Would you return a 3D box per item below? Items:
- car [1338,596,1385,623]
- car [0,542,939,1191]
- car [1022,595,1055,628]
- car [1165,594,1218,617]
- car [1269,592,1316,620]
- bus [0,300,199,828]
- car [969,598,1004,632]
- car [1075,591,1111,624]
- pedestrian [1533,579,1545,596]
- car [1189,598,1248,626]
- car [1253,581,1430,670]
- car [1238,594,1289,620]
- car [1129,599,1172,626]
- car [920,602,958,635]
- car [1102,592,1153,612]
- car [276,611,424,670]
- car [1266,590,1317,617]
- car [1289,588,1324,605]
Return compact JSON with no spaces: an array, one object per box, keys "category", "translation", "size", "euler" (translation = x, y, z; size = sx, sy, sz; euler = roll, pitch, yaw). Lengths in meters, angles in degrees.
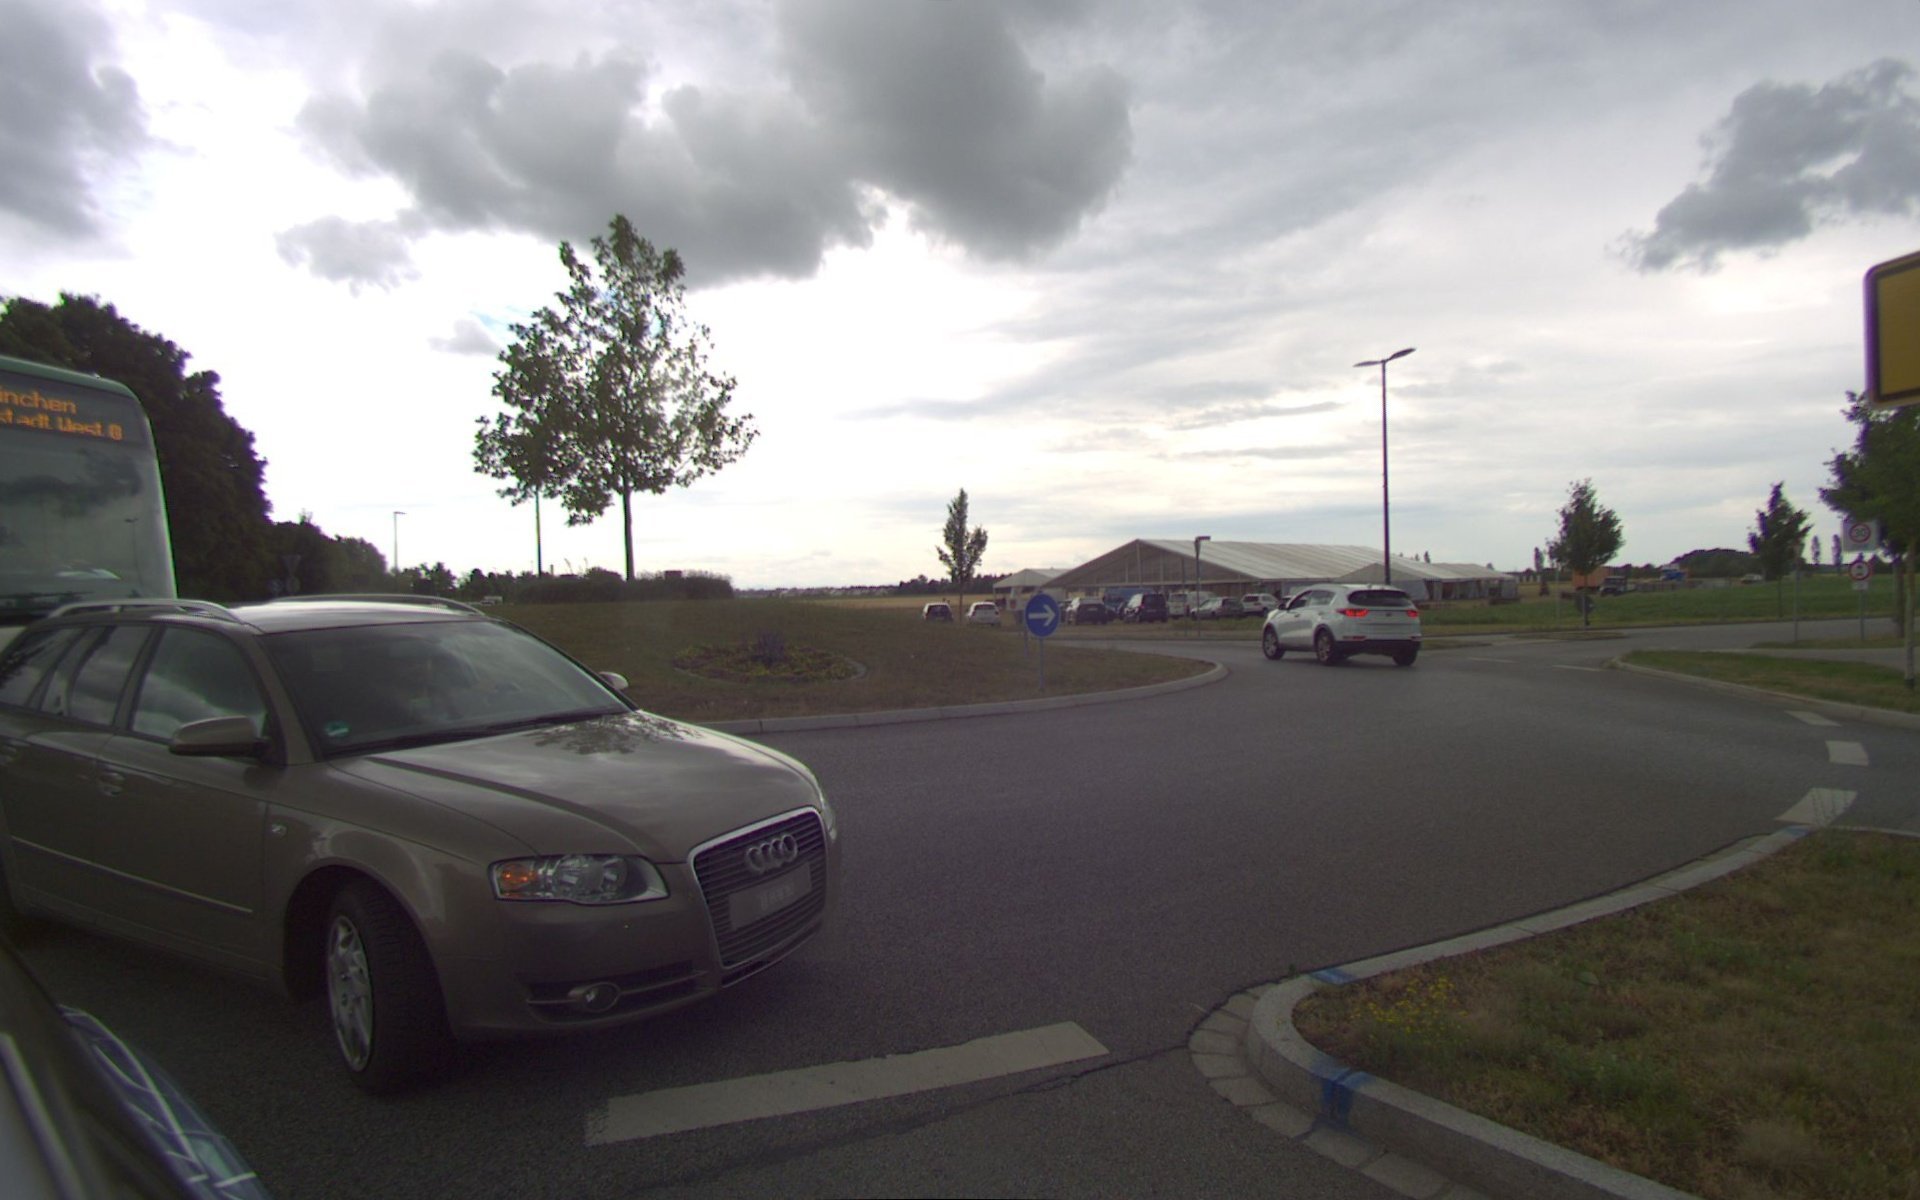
[{"category":"car","translation":[25.558,0.604,64.331],"size":[1.729,1.565,3.949],"euler":[-1,0,38]},{"category":"car","translation":[-2.494,0.678,4.138],"size":[4.517,1.476,1.767],"euler":[-2,-1,27]},{"category":"car","translation":[4.457,0.618,57.404],"size":[1.694,1.564,3.995],"euler":[-4,2,4]},{"category":"car","translation":[16.212,0.395,70.773],"size":[1.951,1.453,3.945],"euler":[-1,0,42]},{"category":"car","translation":[19.823,0.329,60.522],"size":[1.614,1.618,3.874],"euler":[-2,0,2]},{"category":"bus","translation":[-9.169,-0.216,6.804],"size":[6.465,3.283,2.522],"euler":[0,0,5]},{"category":"car","translation":[1.528,0.819,57.134],"size":[1.694,1.564,3.995],"euler":[-4,2,4]},{"category":"car","translation":[7.538,0.403,57.764],"size":[1.694,1.564,3.995],"euler":[-4,2,4]},{"category":"pedestrian","translation":[71.559,-1.553,125.084],"size":[1.045,2.029,1.052],"euler":[-2,0,-43]},{"category":"car","translation":[15.510,0.695,60.962],"size":[1.705,1.618,3.887],"euler":[-2,0,-14]},{"category":"car","translation":[7.925,0.480,21.510],"size":[1.688,1.638,4.456],"euler":[-2,0,-5]},{"category":"car","translation":[20.505,0.471,68.319],"size":[1.835,1.618,3.776],"euler":[-1,0,42]},{"category":"car","translation":[10.801,0.689,57.612],"size":[1.926,1.453,3.995],"euler":[-1,0,4]},{"category":"car","translation":[-1.170,1.001,57.002],"size":[1.694,1.564,3.995],"euler":[-4,2,4]},{"category":"car","translation":[12.829,0.143,77.446],"size":[3.941,1.453,1.953],"euler":[-2,0,-45]},{"category":"car","translation":[-19.009,1.213,31.804],"size":[1.946,1.579,4.458],"euler":[-2,0,1]},{"category":"car","translation":[21.880,0.216,66.720],"size":[1.835,1.618,3.776],"euler":[-1,0,42]},{"category":"car","translation":[33.585,-0.349,98.080],"size":[1.835,1.618,3.775],"euler":[-1,0,43]}]
